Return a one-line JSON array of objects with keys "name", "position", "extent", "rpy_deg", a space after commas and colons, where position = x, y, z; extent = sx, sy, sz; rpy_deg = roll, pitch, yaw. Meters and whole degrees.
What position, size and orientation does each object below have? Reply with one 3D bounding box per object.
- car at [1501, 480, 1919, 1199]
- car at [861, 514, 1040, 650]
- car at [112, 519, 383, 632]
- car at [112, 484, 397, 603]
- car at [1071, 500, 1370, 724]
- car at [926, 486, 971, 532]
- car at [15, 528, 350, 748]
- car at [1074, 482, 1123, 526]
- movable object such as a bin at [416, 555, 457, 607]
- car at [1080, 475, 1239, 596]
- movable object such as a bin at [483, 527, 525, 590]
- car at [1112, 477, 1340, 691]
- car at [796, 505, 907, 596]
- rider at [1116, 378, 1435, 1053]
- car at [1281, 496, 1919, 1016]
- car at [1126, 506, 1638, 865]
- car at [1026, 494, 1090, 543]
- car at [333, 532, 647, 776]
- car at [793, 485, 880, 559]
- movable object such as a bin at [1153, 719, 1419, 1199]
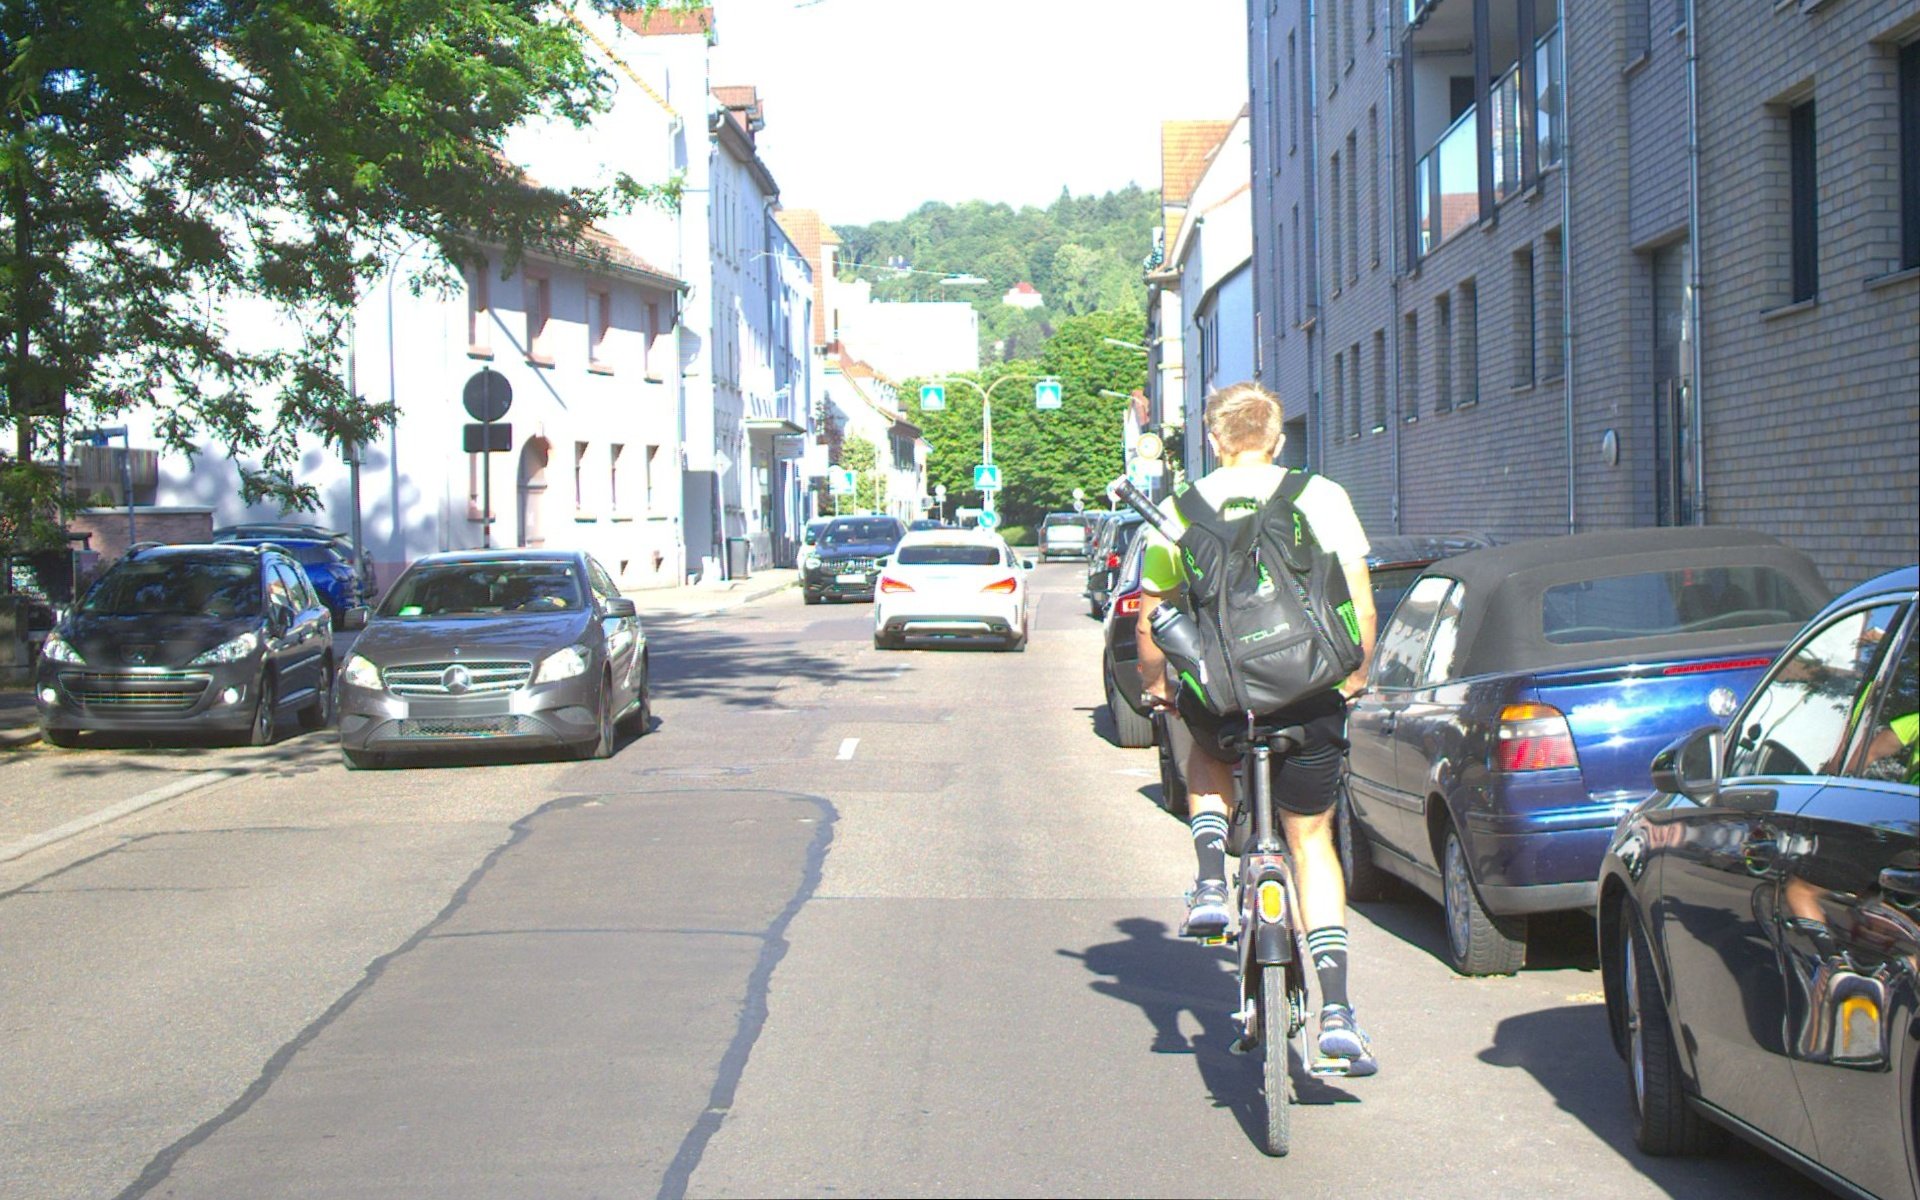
[{"name": "car", "position": [2.413, 0.532, 6.958], "extent": [1.725, 1.524, 4.626], "rpy_deg": [-5, 2, 0]}, {"name": "car", "position": [-0.136, -0.258, 41.368], "extent": [1.993, 1.461, 4.001], "rpy_deg": [-2, 2, -1]}, {"name": "car", "position": [-11.251, -0.405, 54.468], "extent": [3.768, 1.524, 2.000], "rpy_deg": [-3, 3, 2]}, {"name": "car", "position": [-11.911, -0.979, 58.177], "extent": [4.363, 1.788, 1.988], "rpy_deg": [1, 5, 3]}, {"name": "car", "position": [1.864, 0.021, 25.821], "extent": [1.816, 1.461, 4.270], "rpy_deg": [-2, 2, -1]}, {"name": "car", "position": [-0.526, -4.241, 159.657], "extent": [1.993, 2.006, 4.001], "rpy_deg": [-2, 2, 0]}, {"name": "car", "position": [-5.985, 0.236, 26.900], "extent": [1.696, 1.486, 4.001], "rpy_deg": [-2, 2, -1]}, {"name": "car", "position": [6.147, -4.298, 153.099], "extent": [2.011, 1.846, 4.001], "rpy_deg": [-1, 2, 1]}, {"name": "movable object such as a bin", "position": [-9.239, -0.338, 60.656], "extent": [0.598, 0.869, 0.606], "rpy_deg": [-2, 2, -1]}, {"name": "car", "position": [2.991, -1.025, 52.470], "extent": [1.993, 1.647, 4.763], "rpy_deg": [-2, 3, -1]}, {"name": "movable object such as a bin", "position": [-8.177, -0.748, 61.682], "extent": [0.598, 1.090, 0.751], "rpy_deg": [-1, 2, 2]}, {"name": "car", "position": [2.484, -0.217, 31.795], "extent": [1.890, 1.706, 4.773], "rpy_deg": [-2, 3, 5]}, {"name": "car", "position": [-2.016, -0.954, 64.407], "extent": [1.939, 1.570, 4.320], "rpy_deg": [-2, 2, -1]}, {"name": "rider", "position": [0.755, 0.263, 8.503], "extent": [0.653, 1.556, 1.083], "rpy_deg": [1, 0, -1]}, {"name": "car", "position": [2.358, 0.424, 12.818], "extent": [1.663, 1.511, 4.220], "rpy_deg": [-4, 2, -2]}, {"name": "car", "position": [1.973, 0.309, 17.454], "extent": [1.696, 1.462, 4.721], "rpy_deg": [-4, 2, -3]}, {"name": "car", "position": [3.184, -2.670, 111.722], "extent": [1.993, 1.461, 4.000], "rpy_deg": [-2, 2, 2]}, {"name": "car", "position": [-3.204, 0.306, 24.110], "extent": [1.807, 1.461, 4.001], "rpy_deg": [-2, 2, -3]}, {"name": "car", "position": [-2.940, -1.911, 82.848], "extent": [1.993, 1.642, 5.223], "rpy_deg": [-2, 2, -1]}, {"name": "movable object such as a bin", "position": [0.778, 0.855, 8.586], "extent": [0.454, 1.029, 1.840], "rpy_deg": [1, 1, -1]}]
